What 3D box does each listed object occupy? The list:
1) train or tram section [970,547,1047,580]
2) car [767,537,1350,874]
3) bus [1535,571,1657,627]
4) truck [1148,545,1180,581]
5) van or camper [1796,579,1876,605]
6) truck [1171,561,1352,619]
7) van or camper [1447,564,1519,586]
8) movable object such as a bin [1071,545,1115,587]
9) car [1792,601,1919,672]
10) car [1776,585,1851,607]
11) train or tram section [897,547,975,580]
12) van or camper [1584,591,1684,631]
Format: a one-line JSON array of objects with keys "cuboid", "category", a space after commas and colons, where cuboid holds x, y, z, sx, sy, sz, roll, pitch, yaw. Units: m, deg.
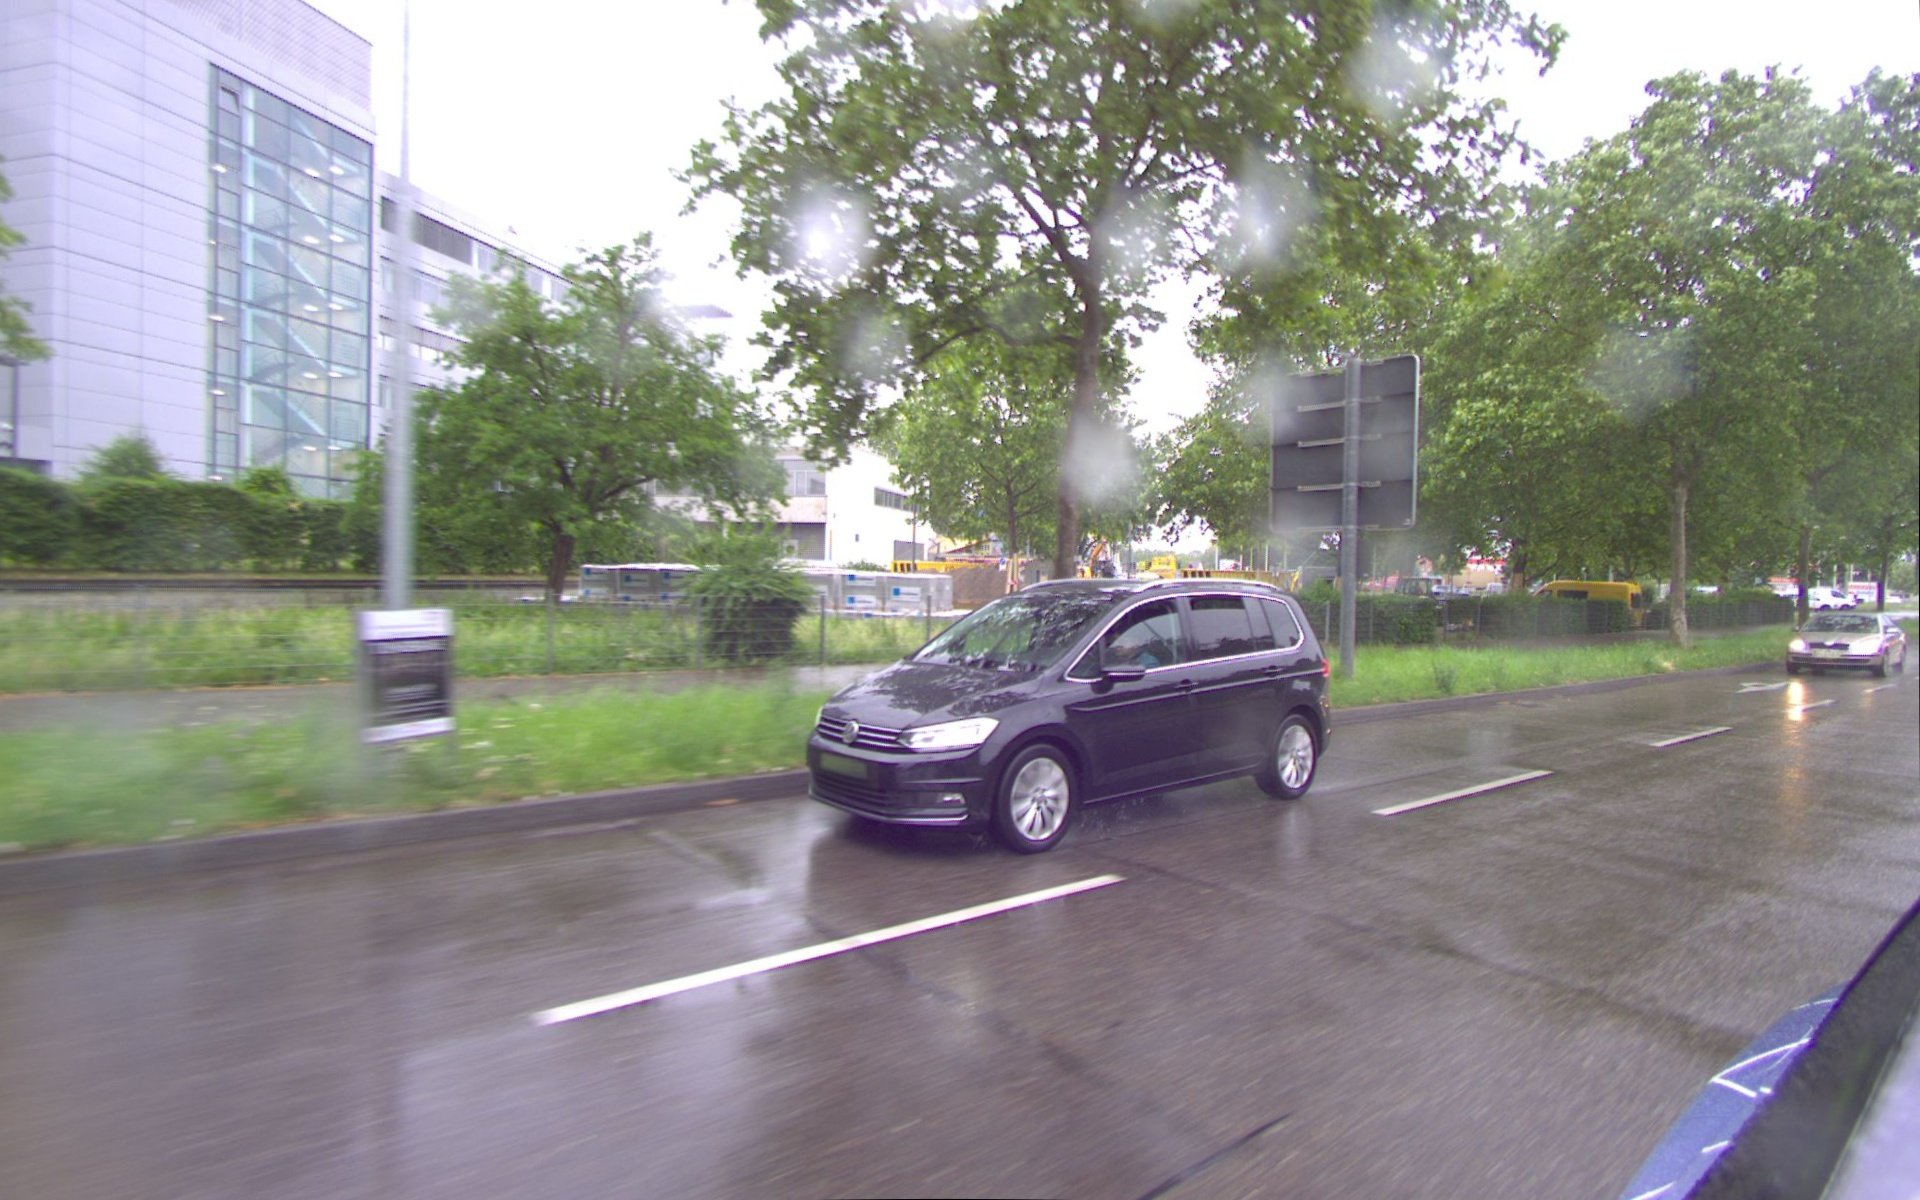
[{"cuboid": [5.405, -4.033, 111.861, 8.244, 3.563, 2.391, 0, 1, 13], "category": "train or tram section"}, {"cuboid": [0.889, 0.531, 7.302, 4.116, 1.748, 1.860, 0, 1, -40], "category": "car"}, {"cuboid": [31.978, -0.101, 50.985, 1.963, 2.680, 4.806, 0, 1, -37], "category": "bus"}, {"cuboid": [20.020, -3.577, 98.855, 2.461, 3.387, 9.427, 0, 1, 15], "category": "truck"}, {"cuboid": [76.324, -0.738, 88.218, 4.834, 2.114, 1.861, 2, 2, 13], "category": "van or camper"}, {"cuboid": [16.551, -0.568, 56.118, 9.367, 3.069, 3.067, 0, 1, 16], "category": "truck"}, {"cuboid": [76.100, -3.614, 147.513, 8.853, 3.196, 2.973, 0, 1, 16], "category": "van or camper"}, {"cuboid": [12.064, -3.054, 91.925, 3.254, 3.670, 3.617, 1, 1, -4], "category": "movable object such as a bin"}, {"cuboid": [21.160, 0.778, 23.655, 4.307, 1.448, 1.807, 0, 1, -39], "category": "car"}, {"cuboid": [72.261, -0.333, 85.752, 4.394, 1.693, 1.861, 2, 2, 13], "category": "car"}, {"cuboid": [-2.690, -4.061, 113.782, 8.402, 3.563, 2.391, 0, 1, 13], "category": "train or tram section"}, {"cuboid": [34.627, 0.547, 52.072, 1.772, 1.931, 3.992, 0, 0, -43], "category": "van or camper"}]
